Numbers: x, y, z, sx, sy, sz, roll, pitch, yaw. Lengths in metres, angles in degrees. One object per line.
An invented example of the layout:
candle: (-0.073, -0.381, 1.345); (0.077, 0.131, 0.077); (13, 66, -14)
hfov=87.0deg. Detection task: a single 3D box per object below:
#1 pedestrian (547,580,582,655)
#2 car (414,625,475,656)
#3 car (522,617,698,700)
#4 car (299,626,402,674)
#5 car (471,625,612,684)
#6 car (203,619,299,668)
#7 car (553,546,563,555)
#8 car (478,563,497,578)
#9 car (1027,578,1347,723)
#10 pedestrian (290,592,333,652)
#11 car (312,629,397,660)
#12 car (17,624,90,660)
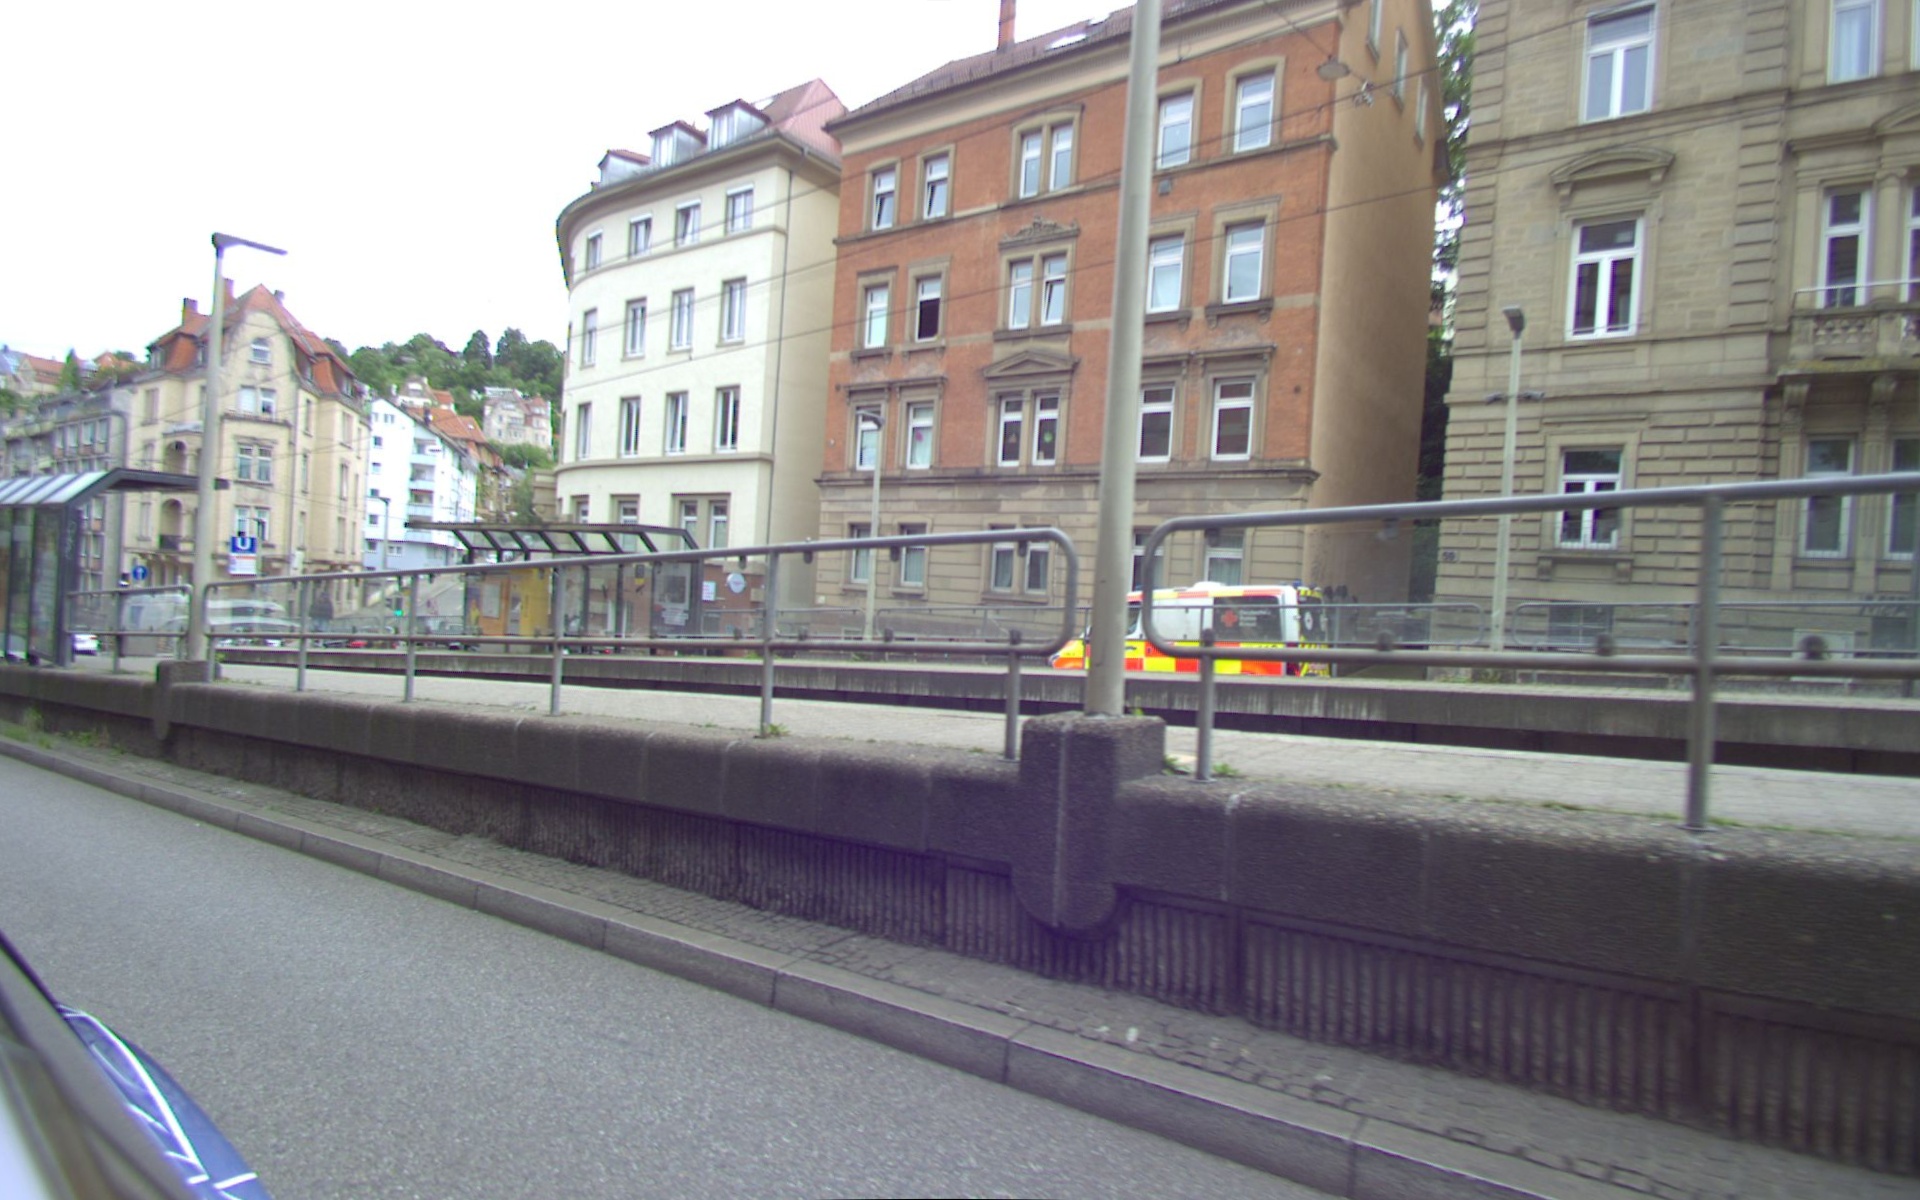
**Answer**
pedestrian: (-8.463, 0.384, 21.653); (0.539, 1.574, 0.458); (-1, -2, 36)
car: (-30.345, 2.406, 59.705); (1.823, 1.747, 4.387); (0, -2, -7)
car: (-8.795, 1.405, 25.322); (4.405, 1.909, 1.976); (-1, -2, 35)
car: (-23.537, 1.919, 39.036); (4.371, 1.747, 1.829); (-2, -3, 36)
car: (-12.655, 1.593, 30.490); (4.405, 1.658, 1.846); (-1, -2, 35)
car: (-27.198, 1.634, 38.811); (3.855, 1.778, 1.807); (-1, -2, 35)
car: (-72.591, -9.006, 182.727); (1.619, 1.470, 3.321); (1, 4, -20)
car: (-60.487, -3.842, 129.628); (1.910, 1.650, 4.014); (1, 4, -20)
car: (4.047, 0.880, 18.647); (5.445, 2.322, 1.975); (-1, -3, 36)
pedestrian: (-18.686, 0.641, 29.176); (0.841, 1.701, 0.758); (-2, -3, 37)
car: (-34.751, 2.542, 58.211); (1.980, 1.723, 3.983); (-1, -2, 13)
car: (-45.611, 2.123, 50.900); (4.371, 1.747, 1.829); (-2, -3, 36)
